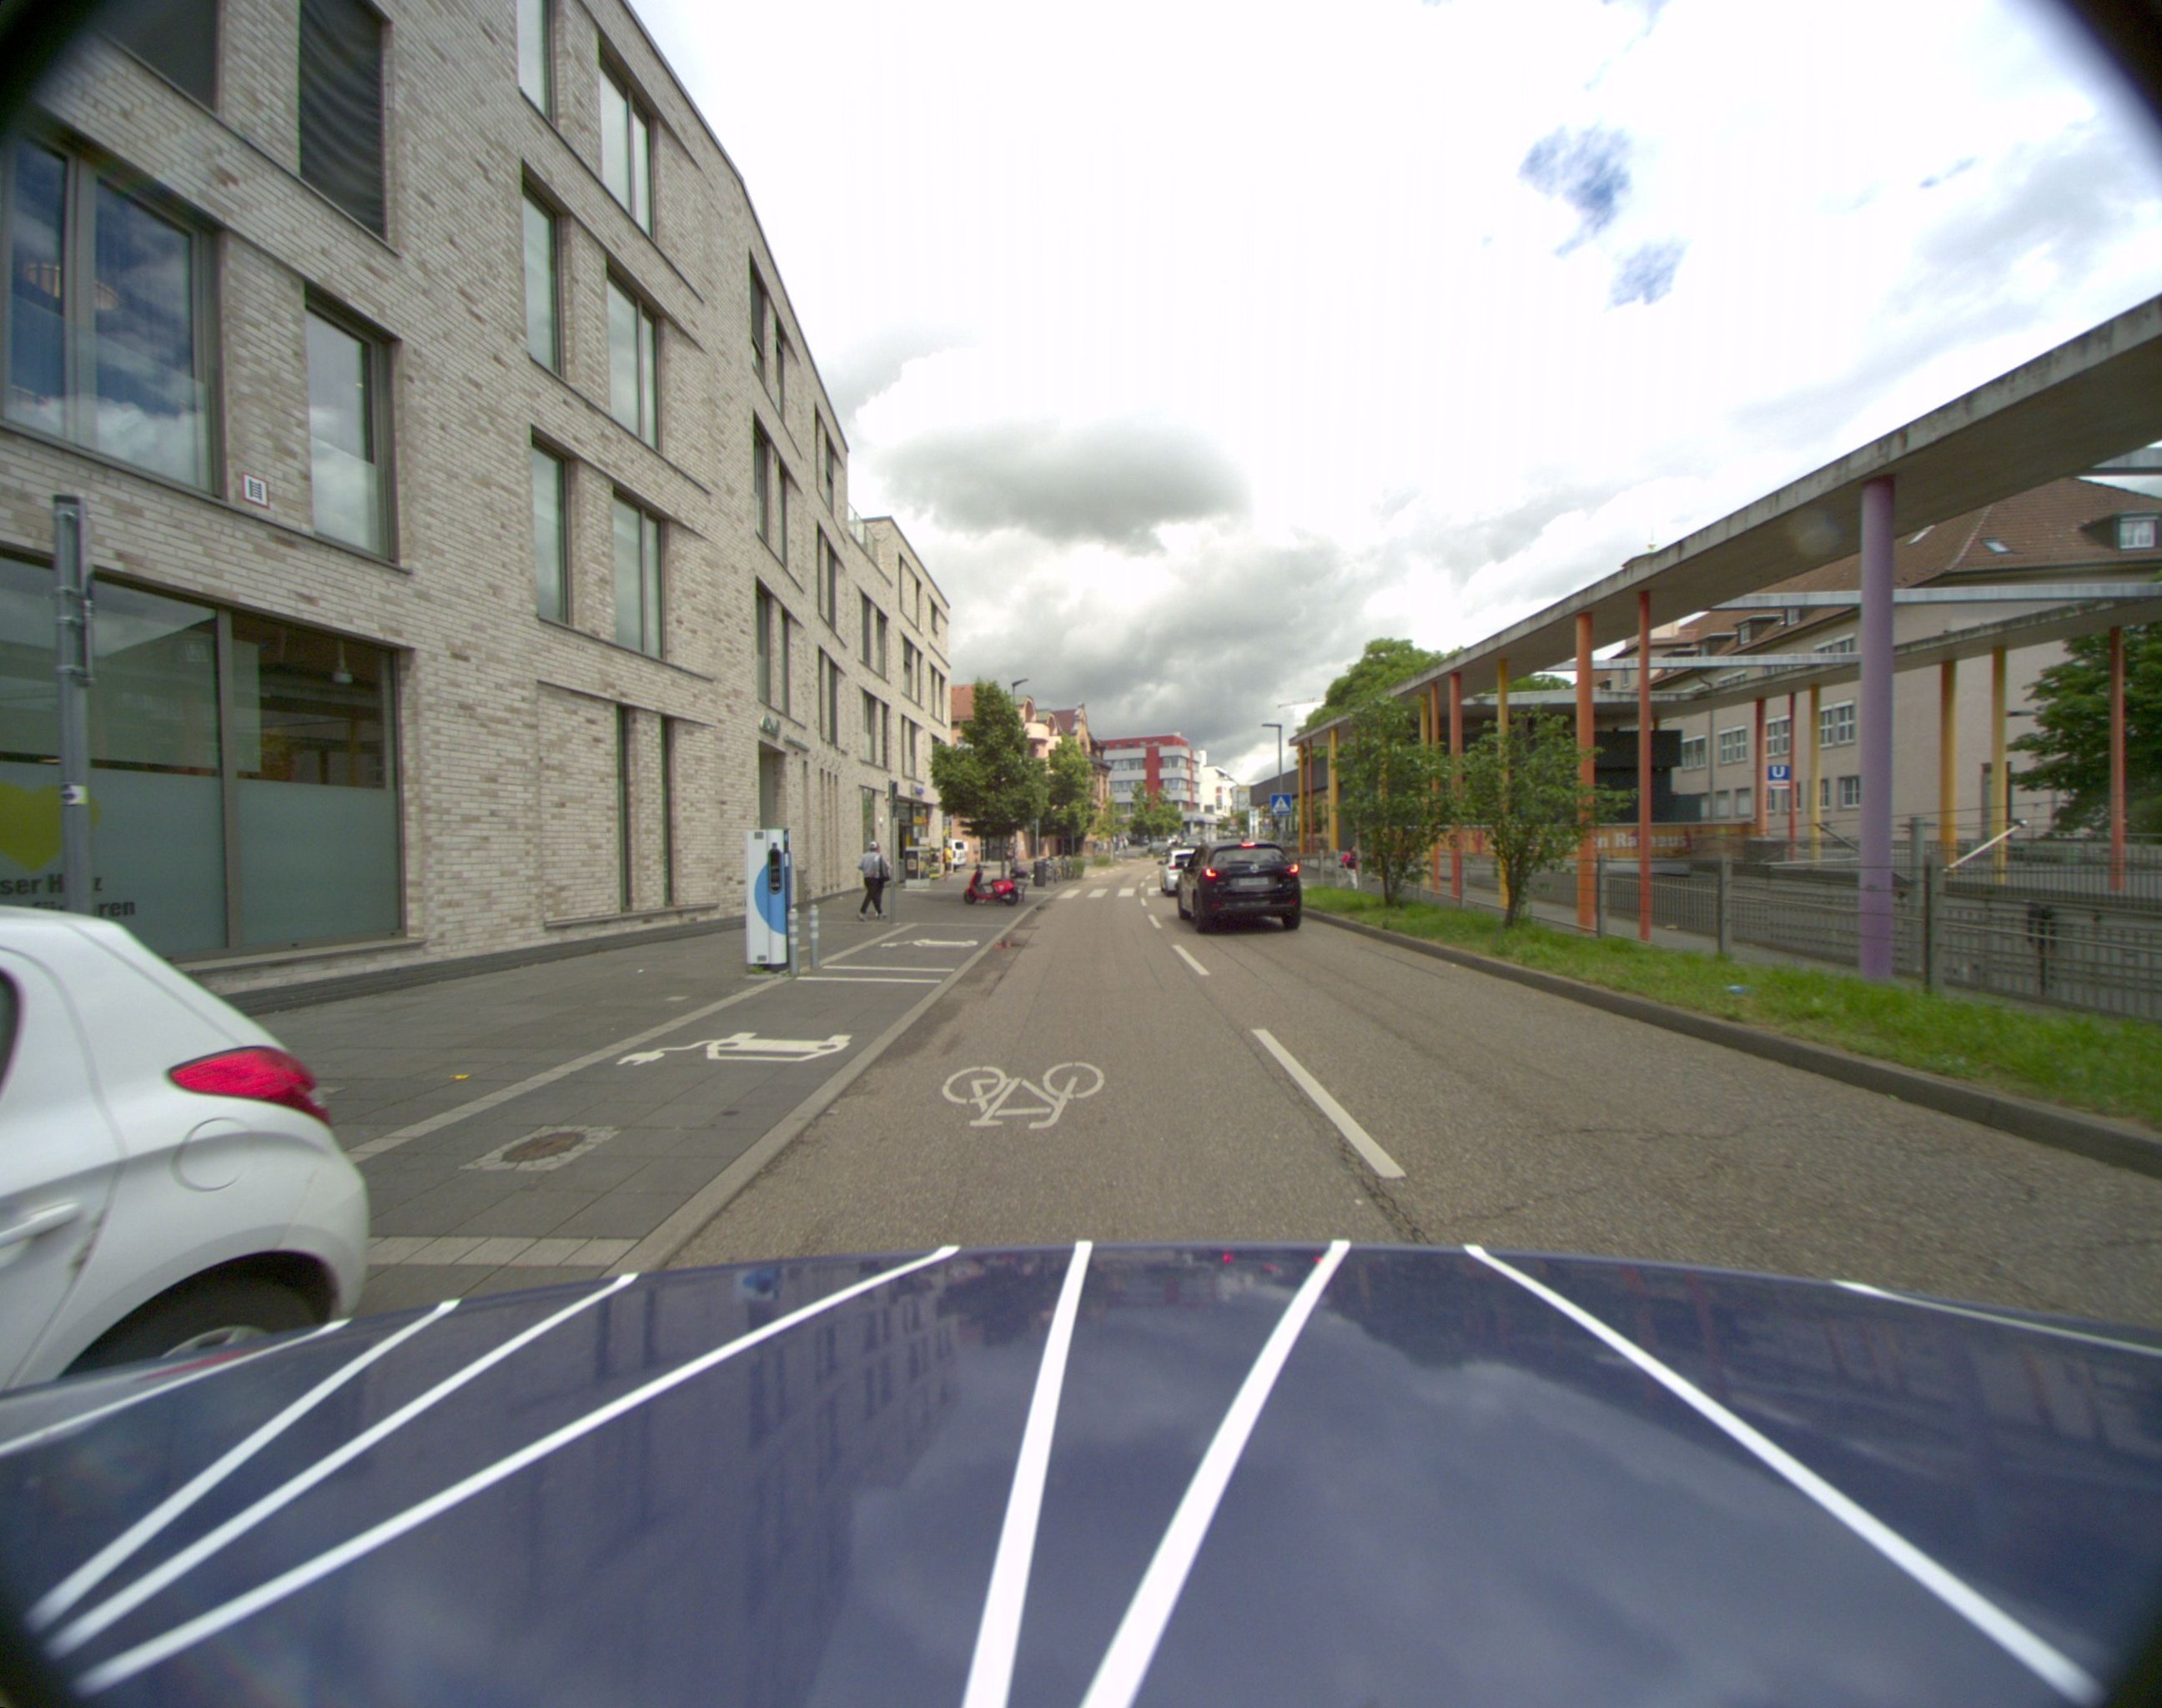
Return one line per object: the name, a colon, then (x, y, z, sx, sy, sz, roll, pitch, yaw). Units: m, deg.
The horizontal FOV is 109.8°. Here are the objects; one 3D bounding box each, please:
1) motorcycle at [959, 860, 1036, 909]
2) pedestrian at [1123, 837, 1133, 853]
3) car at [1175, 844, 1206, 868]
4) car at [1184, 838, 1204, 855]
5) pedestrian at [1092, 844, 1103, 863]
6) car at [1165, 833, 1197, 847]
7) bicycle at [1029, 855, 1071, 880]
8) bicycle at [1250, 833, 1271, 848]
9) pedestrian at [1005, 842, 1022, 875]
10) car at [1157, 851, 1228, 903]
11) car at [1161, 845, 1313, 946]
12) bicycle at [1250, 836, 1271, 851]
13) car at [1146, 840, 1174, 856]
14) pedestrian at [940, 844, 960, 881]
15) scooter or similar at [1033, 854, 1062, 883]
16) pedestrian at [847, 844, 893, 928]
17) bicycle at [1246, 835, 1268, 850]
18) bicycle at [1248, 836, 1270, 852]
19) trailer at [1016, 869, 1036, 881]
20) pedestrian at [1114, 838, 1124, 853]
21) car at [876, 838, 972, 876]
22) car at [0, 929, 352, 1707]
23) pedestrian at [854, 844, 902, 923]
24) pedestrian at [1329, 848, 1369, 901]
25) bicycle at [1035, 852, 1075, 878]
motorcycle: (-2.338, 0.833, 21.293, 2.052, 1.259, 0.673, 1, 2, 19)
pedestrian: (4.974, -0.957, 80.169, 0.696, 1.649, 0.741, -1, 3, 26)
car: (7.052, 0.109, 49.418, 1.776, 1.455, 4.235, -2, 1, 6)
car: (11.684, -0.787, 78.246, 1.802, 1.572, 4.002, -2, 2, 11)
pedestrian: (1.482, -0.060, 68.774, 0.745, 1.630, 0.928, 2, 2, 14)
car: (13.400, -1.925, 101.910, 4.006, 1.653, 1.839, -4, 3, -37)
bicycle: (-1.424, 0.623, 35.258, 1.826, 1.125, 0.756, 0, 2, 8)
bicycle: (13.737, -1.029, 58.172, 1.548, 1.121, 0.534, 0, 2, 15)
pedestrian: (-3.566, 0.219, 40.233, 0.659, 1.732, 1.018, 0, 2, 7)
car: (3.537, 0.681, 24.750, 1.816, 1.460, 3.907, -2, 1, 2)
car: (2.816, 0.662, 14.842, 1.924, 1.595, 4.626, -2, 1, -1)
bicycle: (13.594, -0.787, 57.581, 1.548, 1.121, 0.534, 0, 2, 15)
car: (7.817, -0.607, 75.051, 1.996, 1.406, 4.740, 0, 2, 15)
pedestrian: (-6.053, 0.382, 35.166, 0.658, 1.683, 0.633, 1, 2, 42)
scooter or similar: (-1.467, 0.631, 33.315, 1.198, 1.243, 0.494, 0, 2, 8)
pedestrian: (-4.578, 0.668, 16.509, 0.739, 1.757, 0.622, -2, 3, -40)
bicycle: (12.950, -0.827, 55.764, 1.548, 1.121, 0.534, 0, 2, 15)
bicycle: (13.307, -0.754, 56.764, 1.548, 1.121, 0.534, 0, 2, 15)
trailer: (-2.633, 1.000, 36.456, 0.721, 0.525, 0.812, -1, 2, 12)
pedestrian: (4.025, -0.893, 80.047, 0.738, 1.631, 0.677, 0, 4, 40)
car: (-9.669, 0.162, 47.038, 5.388, 2.002, 2.000, -3, 1, 4)
car: (-2.838, 0.947, 0.109, 1.696, 1.475, 3.798, 1, 1, 3)
pedestrian: (-4.728, 0.661, 17.698, 0.755, 1.757, 0.736, 1, 3, 33)
pedestrian: (8.271, 0.621, 23.485, 0.929, 1.556, 0.814, -2, 3, -1)
bicycle: (-1.233, 0.522, 36.068, 1.826, 1.194, 0.756, 0, 2, 8)
